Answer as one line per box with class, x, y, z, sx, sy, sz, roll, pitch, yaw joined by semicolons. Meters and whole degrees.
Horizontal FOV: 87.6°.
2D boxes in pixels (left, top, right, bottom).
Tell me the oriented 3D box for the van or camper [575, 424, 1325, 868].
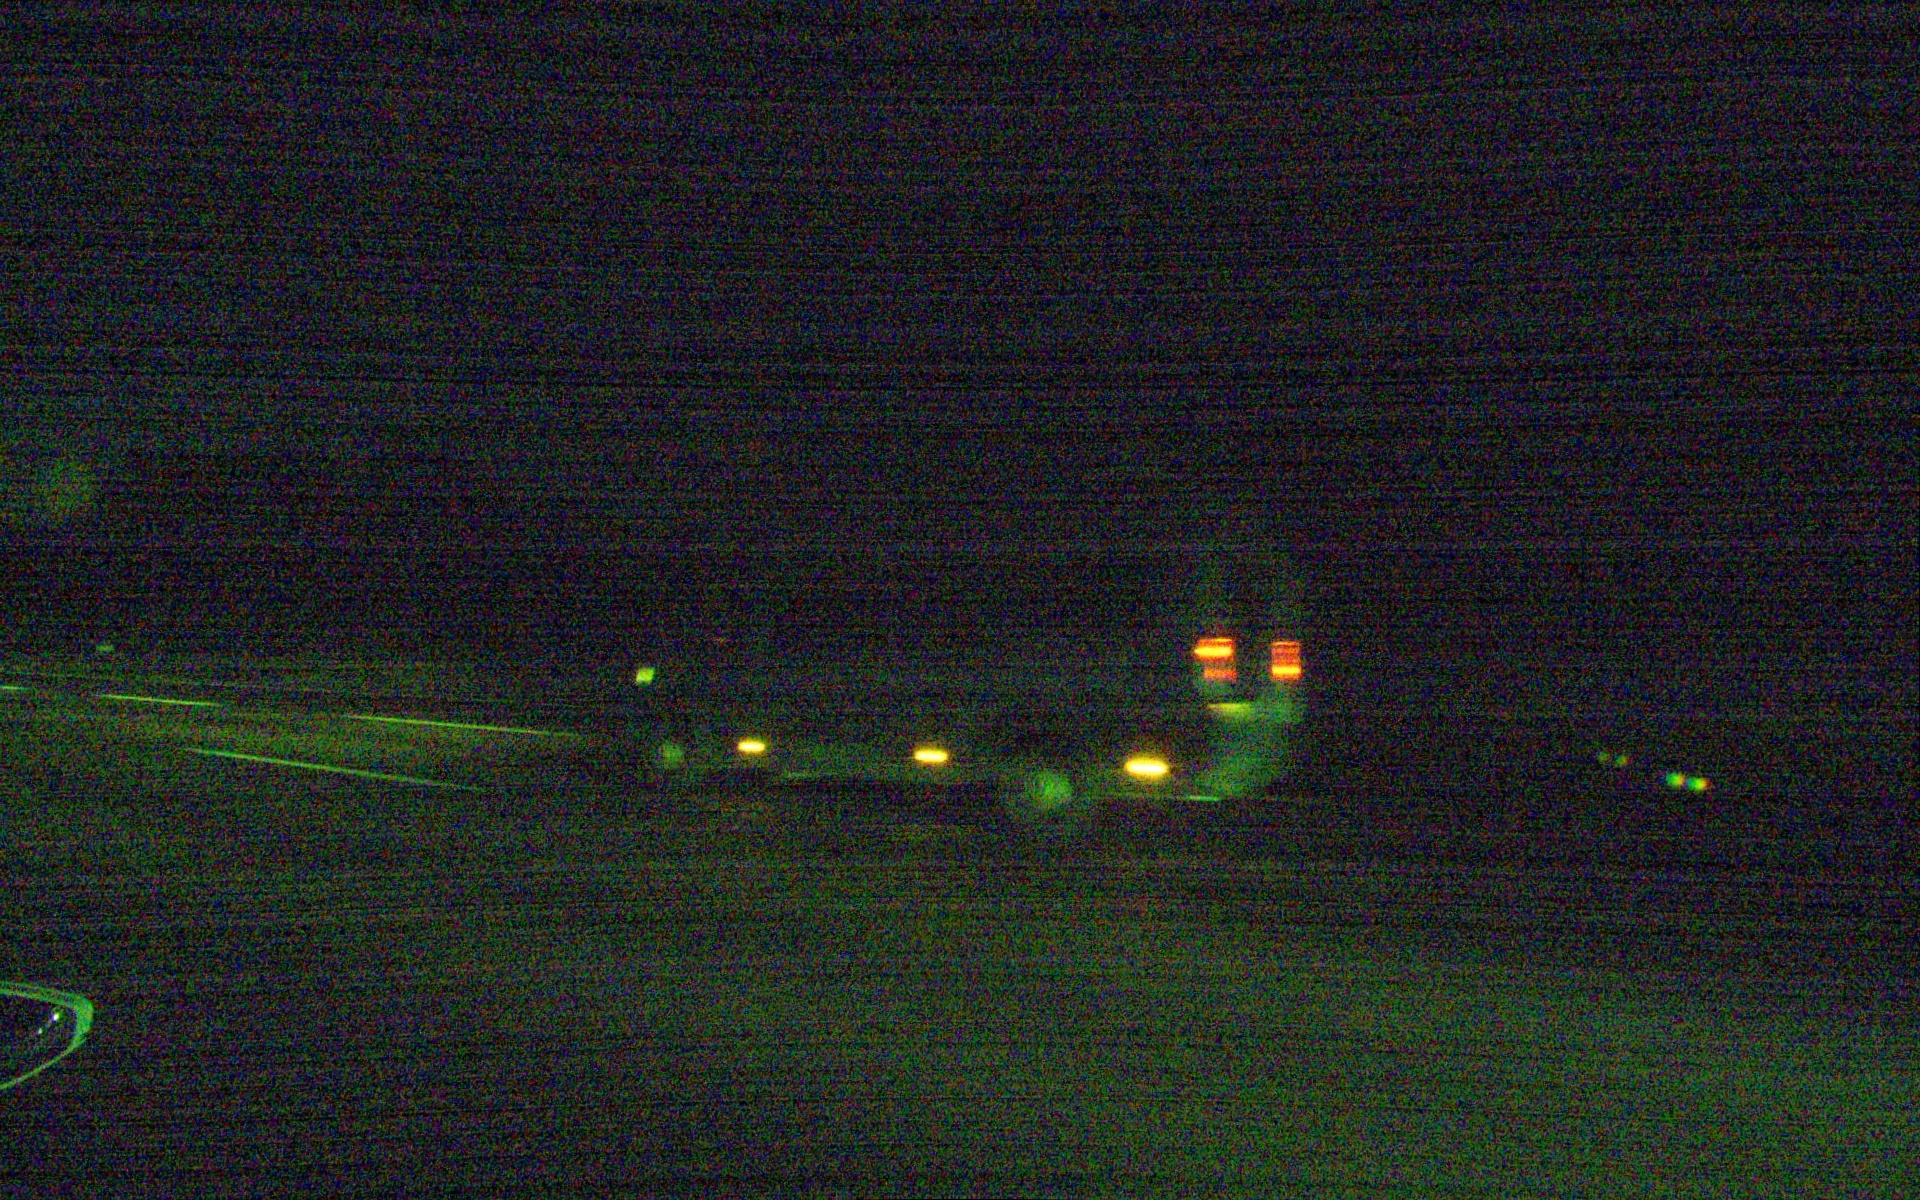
van or camper;-0.414;0.358;9.090;6.708;2.807;2.203;-1;-2;33
